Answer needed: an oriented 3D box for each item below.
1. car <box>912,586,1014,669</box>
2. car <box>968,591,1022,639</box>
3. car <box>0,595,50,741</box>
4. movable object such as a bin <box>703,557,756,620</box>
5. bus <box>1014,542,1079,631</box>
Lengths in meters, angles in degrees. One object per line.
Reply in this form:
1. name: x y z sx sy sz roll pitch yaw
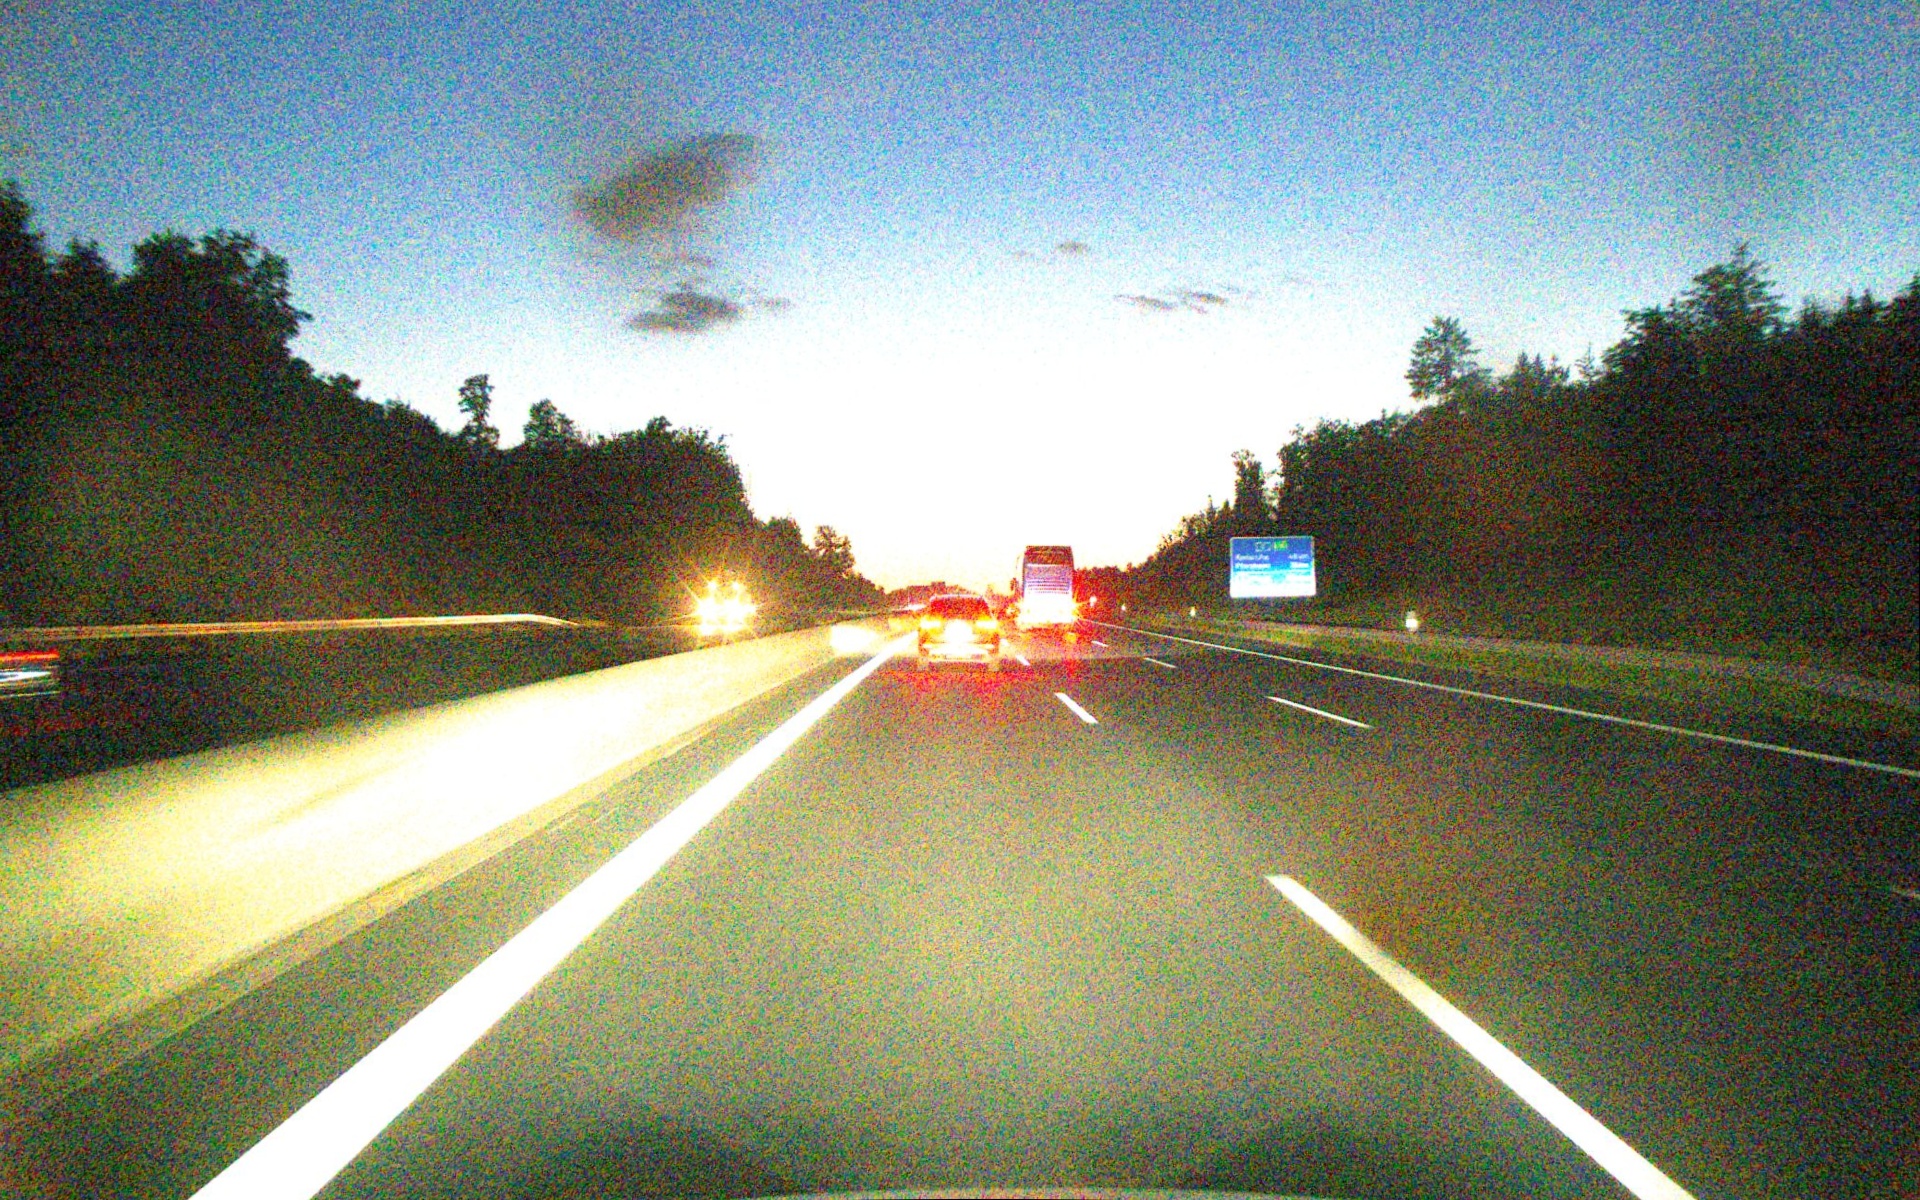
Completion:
1. car: 0.024 0.615 36.194 2.063 1.646 4.203 -1 -1 -1
2. car: 1.365 0.624 66.285 1.873 1.760 3.998 3 -1 -2
3. car: -10.654 0.689 15.464 1.894 1.478 4.452 1 0 -1
4. movable object such as a bin: -14.555 -0.683 104.893 2.246 3.835 7.686 0 0 0
5. bus: 4.303 -0.504 84.982 2.598 4.064 14.701 -2 -1 1
